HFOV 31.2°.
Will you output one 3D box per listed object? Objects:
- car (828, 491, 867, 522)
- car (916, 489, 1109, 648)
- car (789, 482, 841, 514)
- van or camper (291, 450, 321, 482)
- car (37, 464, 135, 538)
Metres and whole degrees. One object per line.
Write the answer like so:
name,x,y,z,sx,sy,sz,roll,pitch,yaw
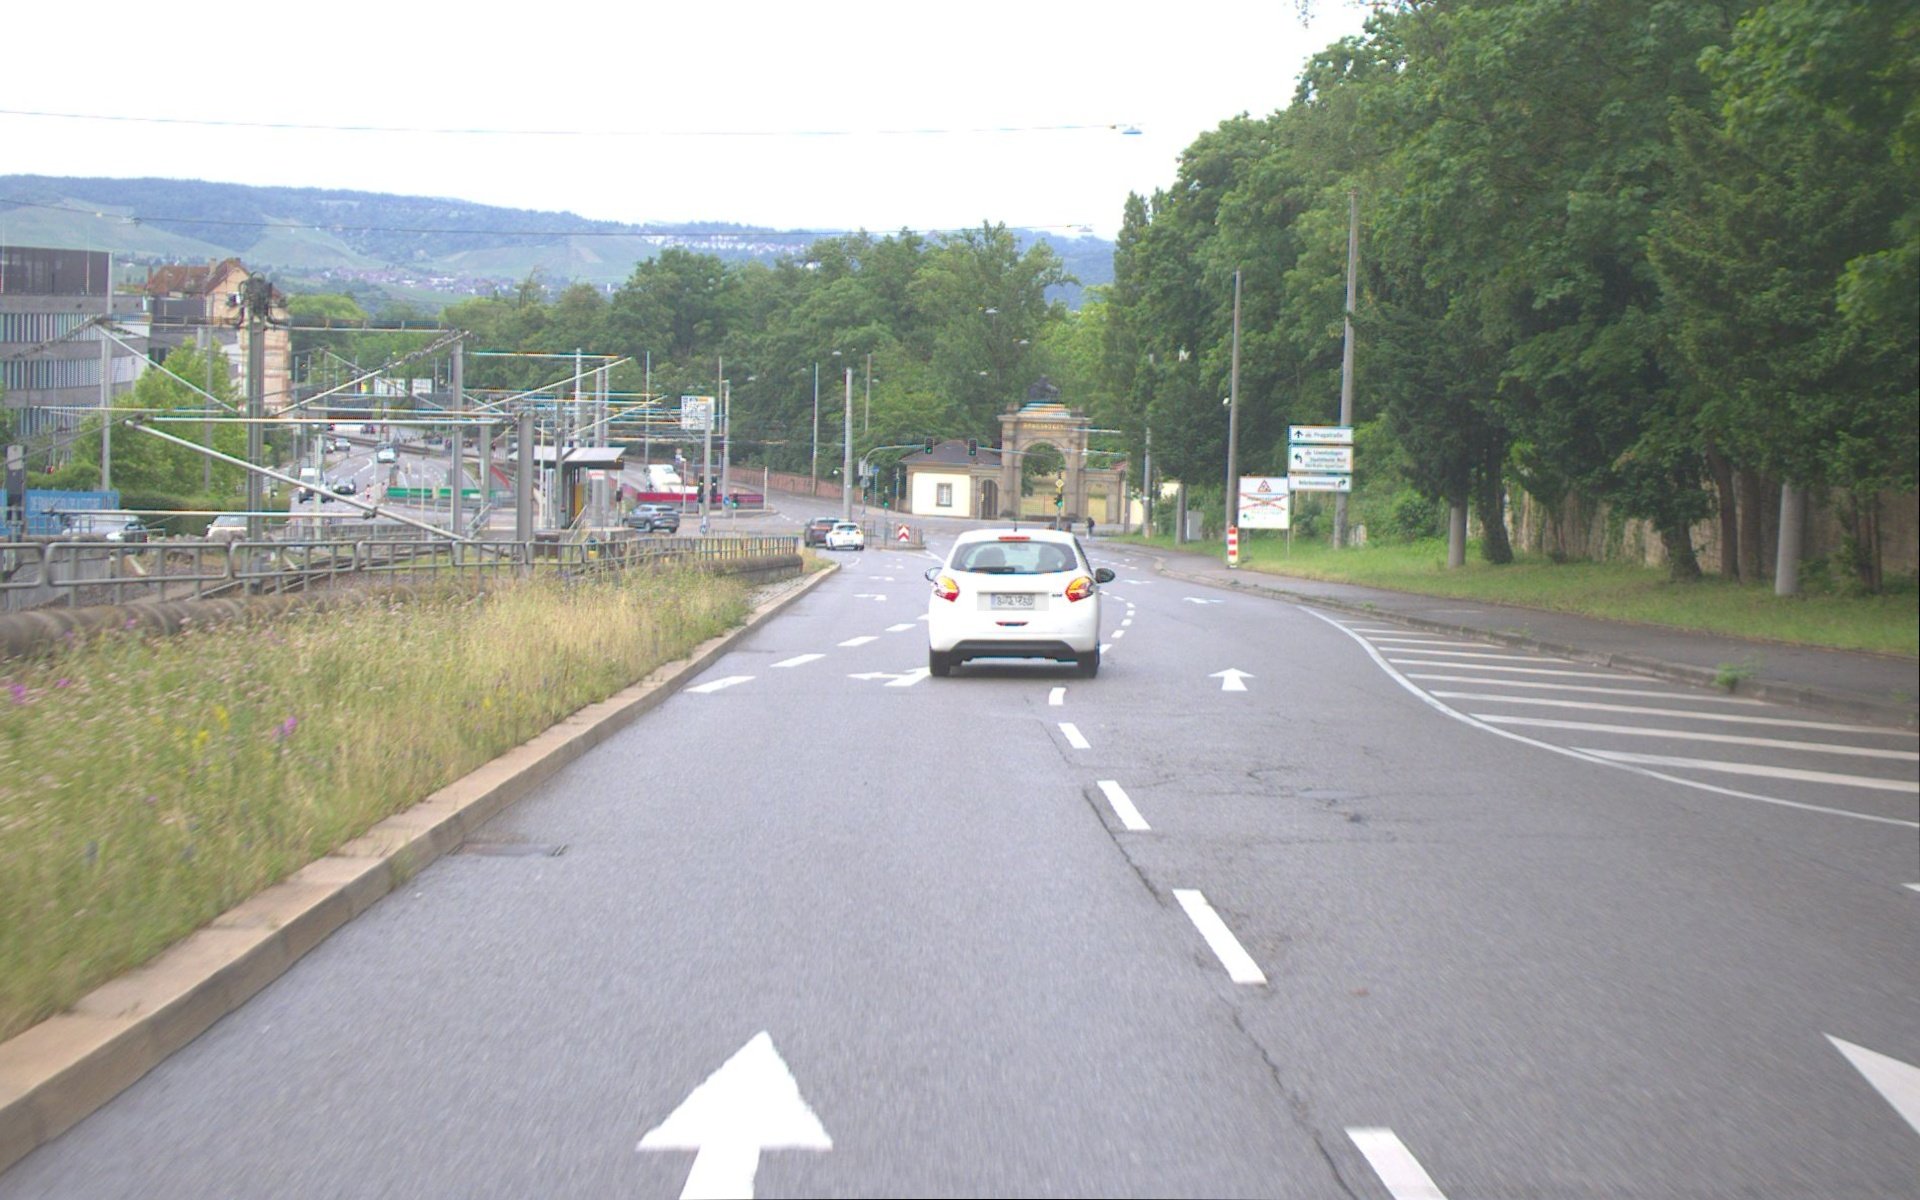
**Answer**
car,-5.869,-4.895,179.673,1.822,1.600,4.000,-1,2,1
car,0.515,-0.370,35.246,1.868,1.505,3.900,0,2,0
car,-7.976,-5.602,188.478,1.993,1.700,4.002,1,2,-15
van or camper,-48.723,-9.962,256.312,1.993,2.336,4.001,1,2,-8
car,-25.211,-2.861,99.304,1.890,1.964,4.036,4,2,-3
